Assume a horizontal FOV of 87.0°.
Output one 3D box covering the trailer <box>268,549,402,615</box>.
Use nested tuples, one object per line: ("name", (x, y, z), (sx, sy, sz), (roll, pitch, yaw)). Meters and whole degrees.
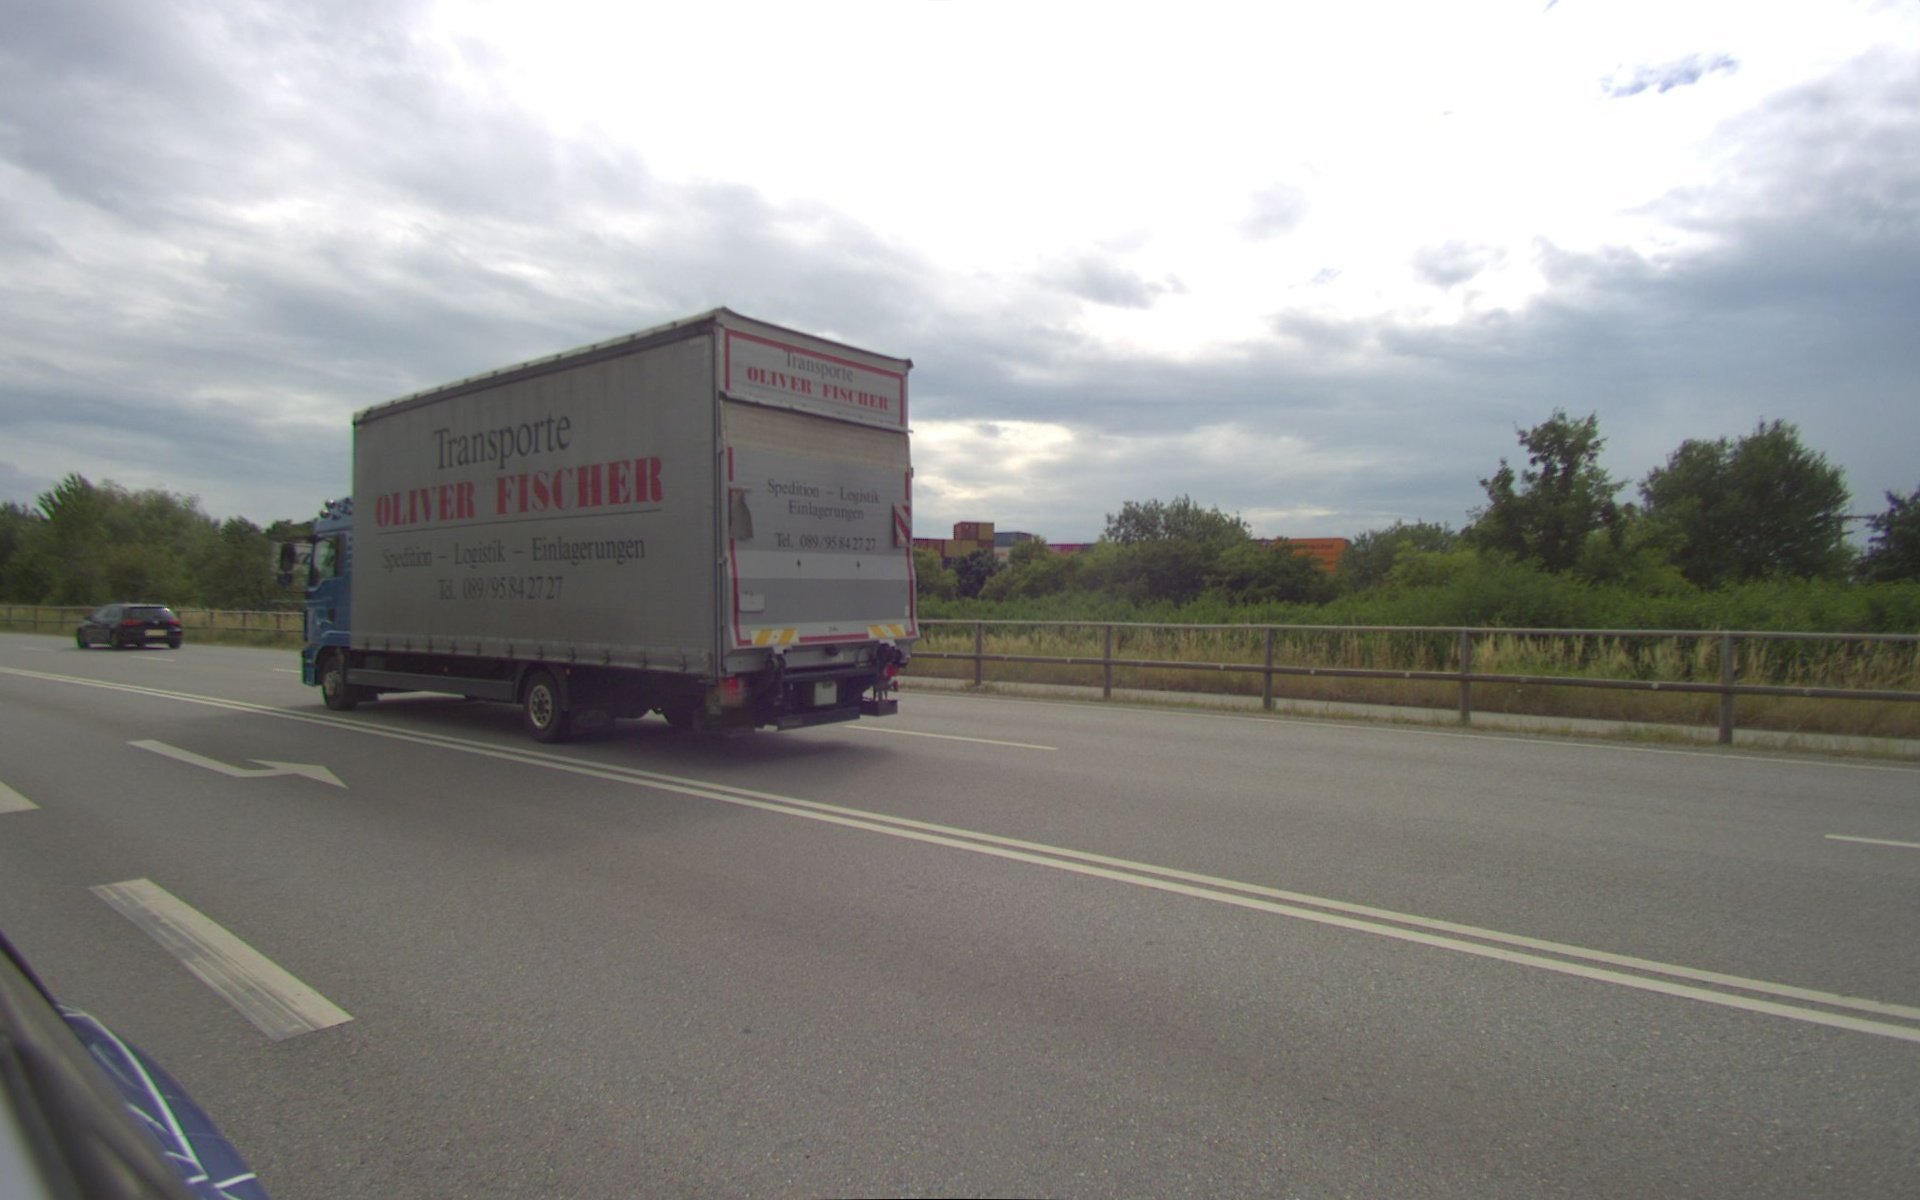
("trailer", (-48.400, -1.389, 78.498), (8.867, 5.034, 2.804), (0, 0, 4))

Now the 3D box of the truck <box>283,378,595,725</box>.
("truck", (-7.397, -0.559, 14.298), (3.995, 4.127, 2.515), (-1, -1, 39))

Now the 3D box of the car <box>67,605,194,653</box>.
("car", (-26.572, 0.895, 32.404), (3.985, 1.452, 1.932), (0, -1, 31))

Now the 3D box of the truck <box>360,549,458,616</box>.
("truck", (-42.471, -1.313, 78.089), (6.109, 5.034, 2.801), (0, 0, 4))

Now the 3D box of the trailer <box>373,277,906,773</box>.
("trailer", (-3.938, -0.595, 11.515), (6.727, 4.132, 2.502), (-1, -1, 39))

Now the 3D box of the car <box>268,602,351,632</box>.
("car", (-43.027, 1.076, 66.964), (4.471, 1.890, 2.005), (0, 0, -36))
